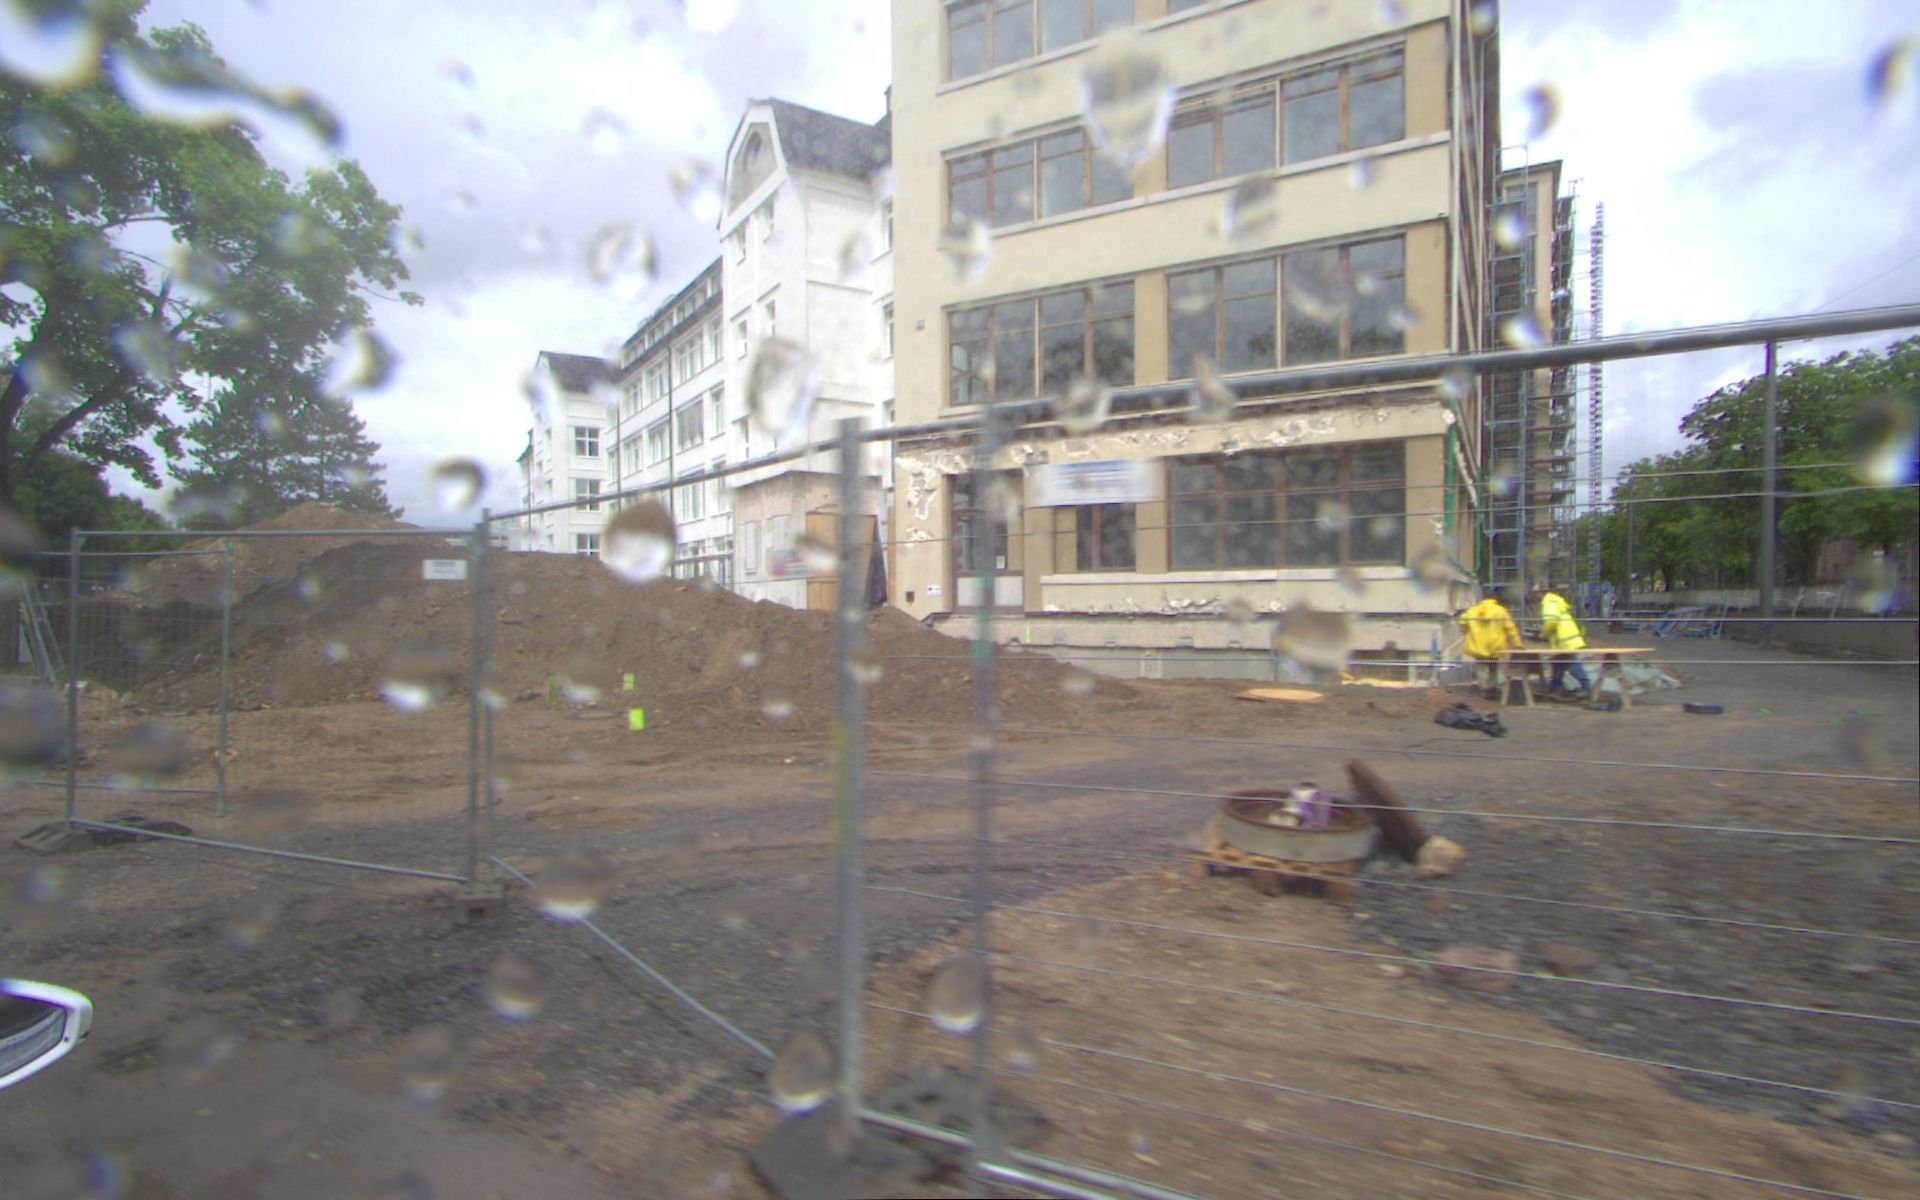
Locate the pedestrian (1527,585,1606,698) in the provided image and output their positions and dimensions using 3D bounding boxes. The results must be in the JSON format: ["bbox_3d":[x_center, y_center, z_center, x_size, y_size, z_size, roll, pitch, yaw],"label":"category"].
[{"bbox_3d":[9.354,0.621,15.463,0.699,1.696,0.777,0,1,-6],"label":"pedestrian"}]

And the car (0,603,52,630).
[{"bbox_3d":[-52.428,0.895,54.626,3.994,1.427,1.970,1,-2,-33],"label":"car"}]

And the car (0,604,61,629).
[{"bbox_3d":[-55.233,0.978,58.310,3.994,1.427,1.970,1,-2,-33],"label":"car"}]

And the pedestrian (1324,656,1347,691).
[{"bbox_3d":[7.544,1.479,20.125,0.386,0.670,0.345,1,1,27],"label":"pedestrian"}]

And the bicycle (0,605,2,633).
[{"bbox_3d":[-45.574,0.906,47.196,0.592,1.325,2.643,0,-2,-44],"label":"bicycle"}]

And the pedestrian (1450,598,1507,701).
[{"bbox_3d":[7.854,0.732,15.179,0.637,1.529,0.624,1,1,17],"label":"pedestrian"}]
